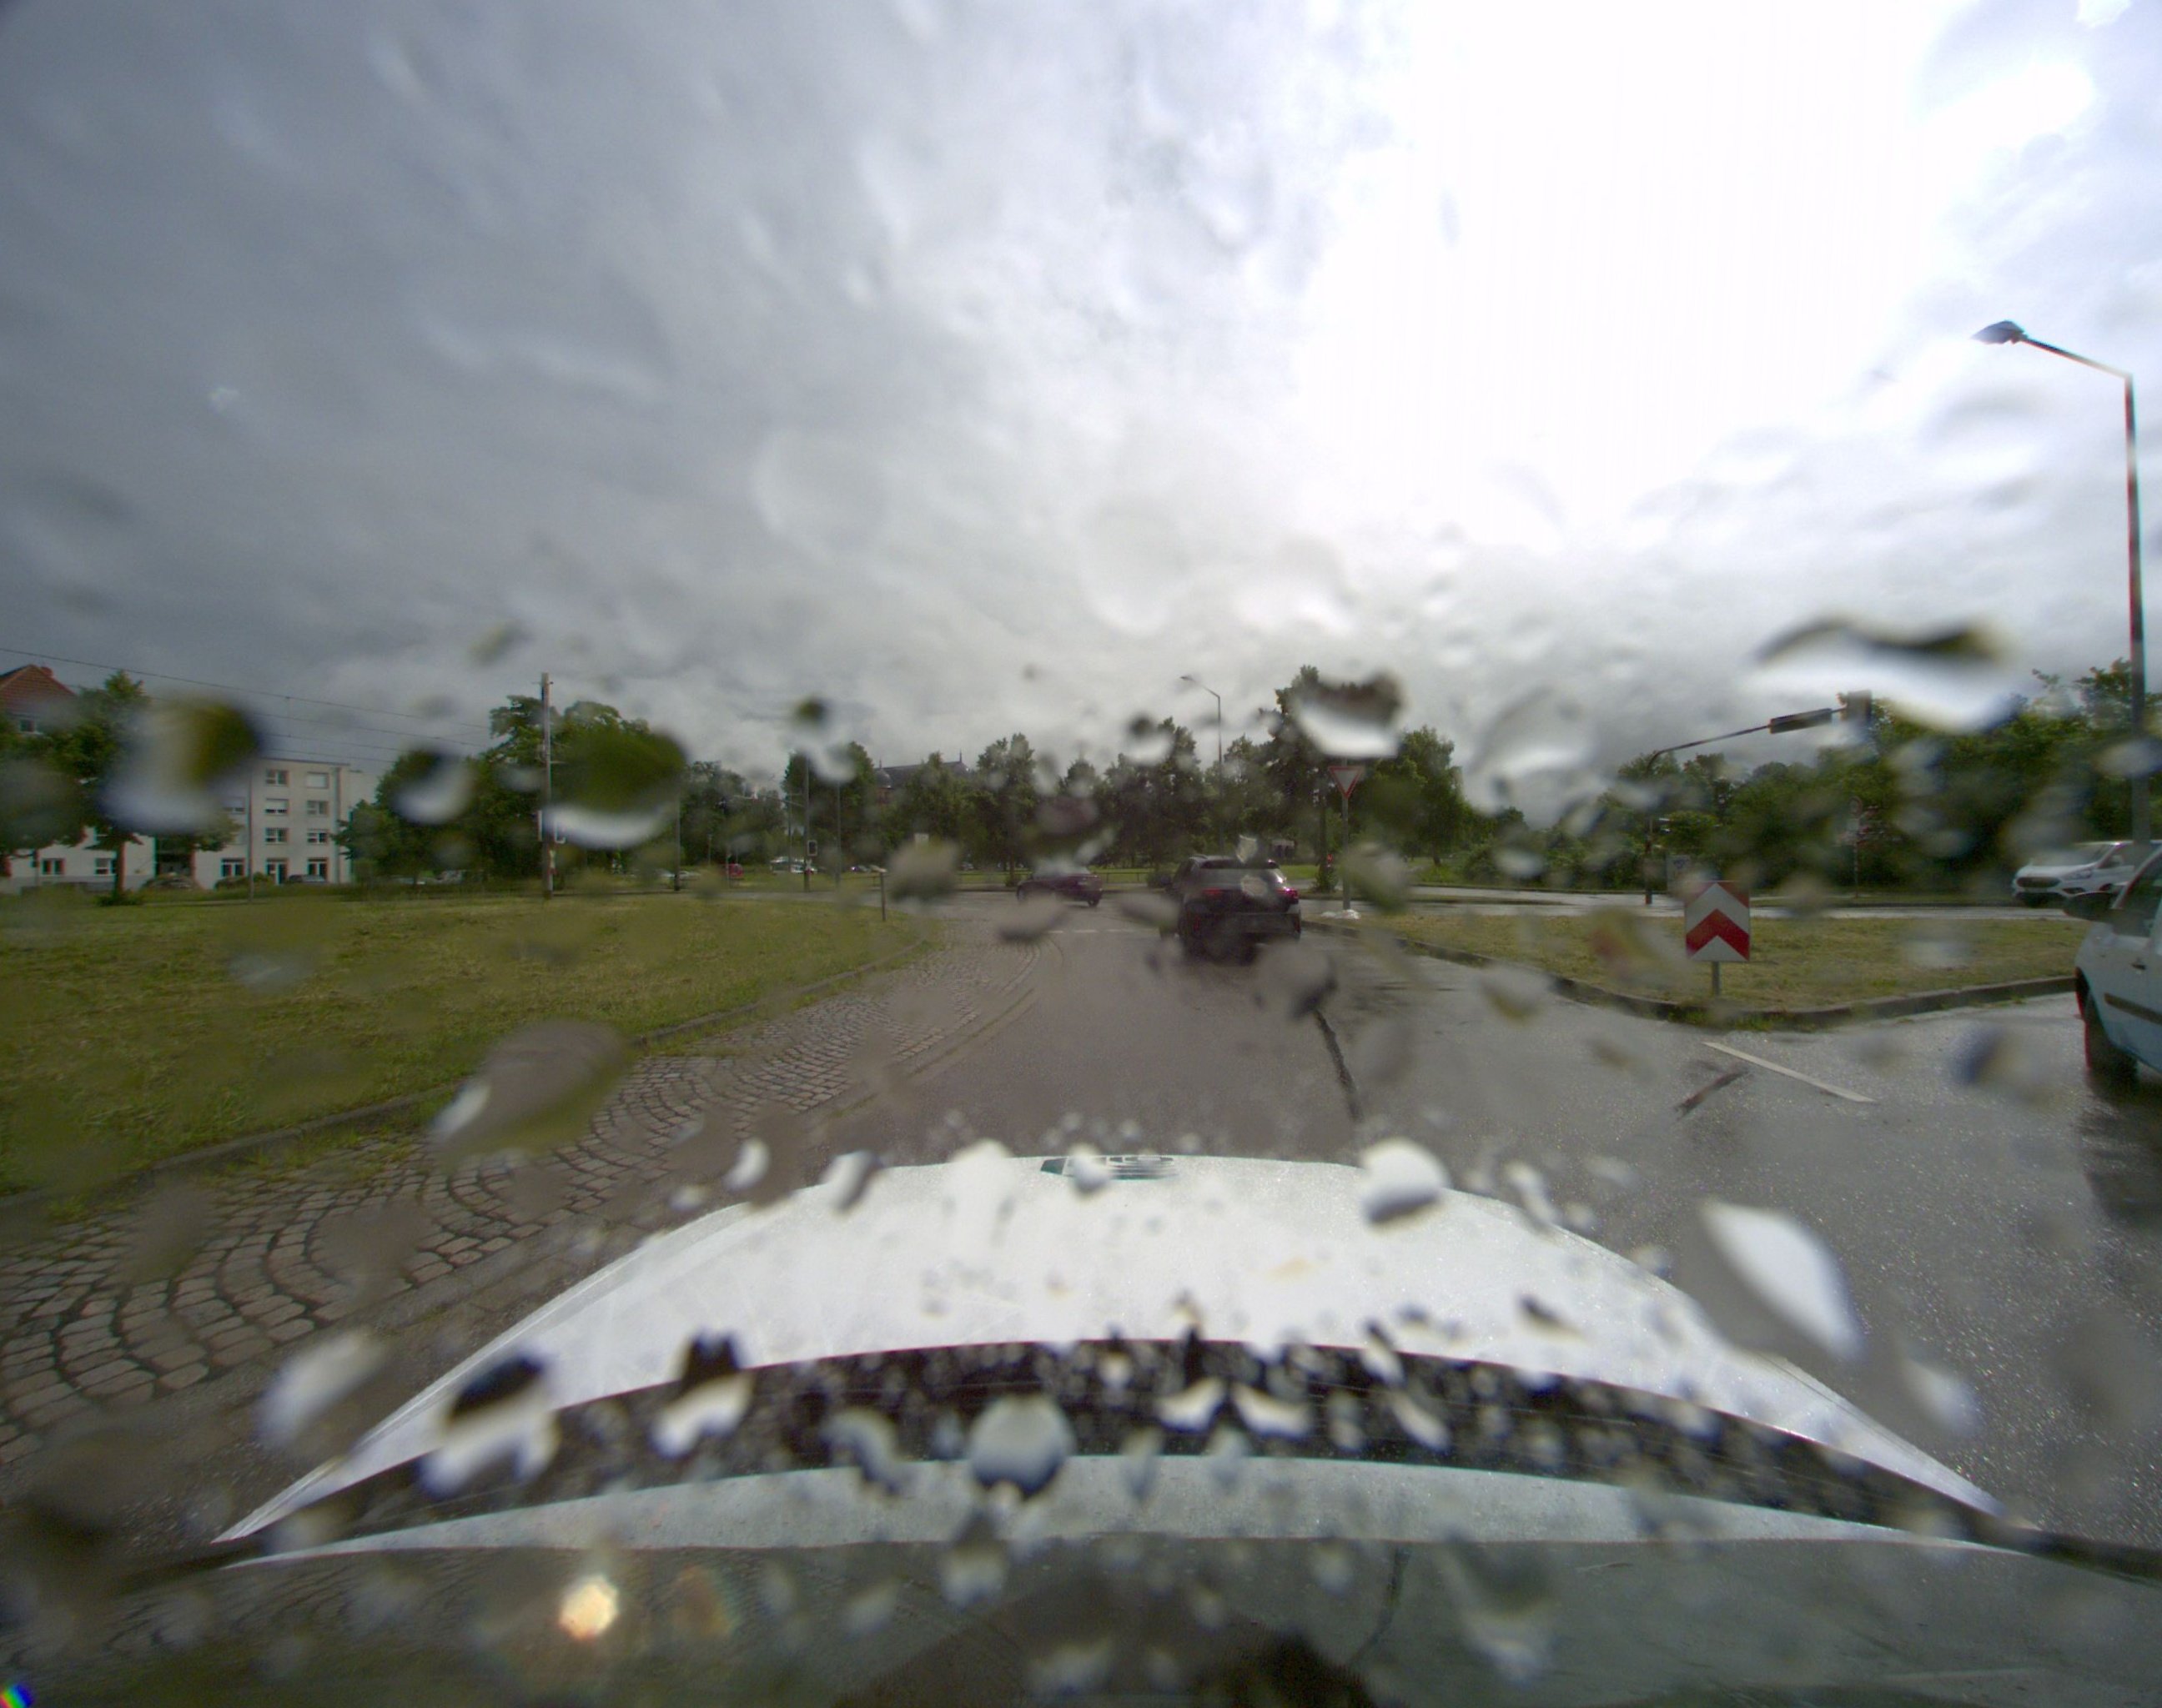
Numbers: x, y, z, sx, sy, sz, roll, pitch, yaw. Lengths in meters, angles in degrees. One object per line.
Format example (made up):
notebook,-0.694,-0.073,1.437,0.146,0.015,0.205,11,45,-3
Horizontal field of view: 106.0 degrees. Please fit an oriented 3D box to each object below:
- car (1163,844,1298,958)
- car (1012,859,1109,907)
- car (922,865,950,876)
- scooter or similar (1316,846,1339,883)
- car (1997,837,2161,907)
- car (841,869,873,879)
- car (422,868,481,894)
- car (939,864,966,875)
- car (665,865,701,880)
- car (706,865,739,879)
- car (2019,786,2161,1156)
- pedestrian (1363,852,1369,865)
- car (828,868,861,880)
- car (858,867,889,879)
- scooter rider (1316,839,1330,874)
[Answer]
car,2.378,0.697,13.687,1.887,1.618,4.007,-1,-1,7
car,-0.795,0.928,27.920,1.724,1.462,3.963,-1,1,-28
car,-22.474,2.531,126.443,3.929,1.559,1.861,-2,-1,26
scooter or similar,14.042,0.630,46.380,1.226,2.014,3.423,0,-2,17
car,31.029,0.515,24.555,4.775,1.987,2.076,0,0,-4
car,-30.543,2.704,111.173,3.929,1.308,1.861,-2,-1,26
car,-52.459,2.193,67.849,5.095,2.057,2.126,0,1,30
car,-20.472,2.500,130.005,3.929,1.559,1.861,-2,-1,26
car,-42.216,1.982,86.426,3.565,1.462,1.655,-1,-1,29
car,-40.068,2.009,91.044,3.603,1.510,1.660,-1,-1,31
car,6.713,0.554,4.241,1.844,1.762,4.579,0,0,42
pedestrian,39.031,0.675,111.373,0.592,1.732,0.609,-2,-3,44
car,-31.572,2.685,108.624,3.929,1.559,1.861,-2,-1,26
car,-28.953,2.638,113.504,3.929,1.559,1.861,-2,-1,26
scooter rider,14.009,0.141,47.132,0.699,2.014,0.772,0,-2,10
